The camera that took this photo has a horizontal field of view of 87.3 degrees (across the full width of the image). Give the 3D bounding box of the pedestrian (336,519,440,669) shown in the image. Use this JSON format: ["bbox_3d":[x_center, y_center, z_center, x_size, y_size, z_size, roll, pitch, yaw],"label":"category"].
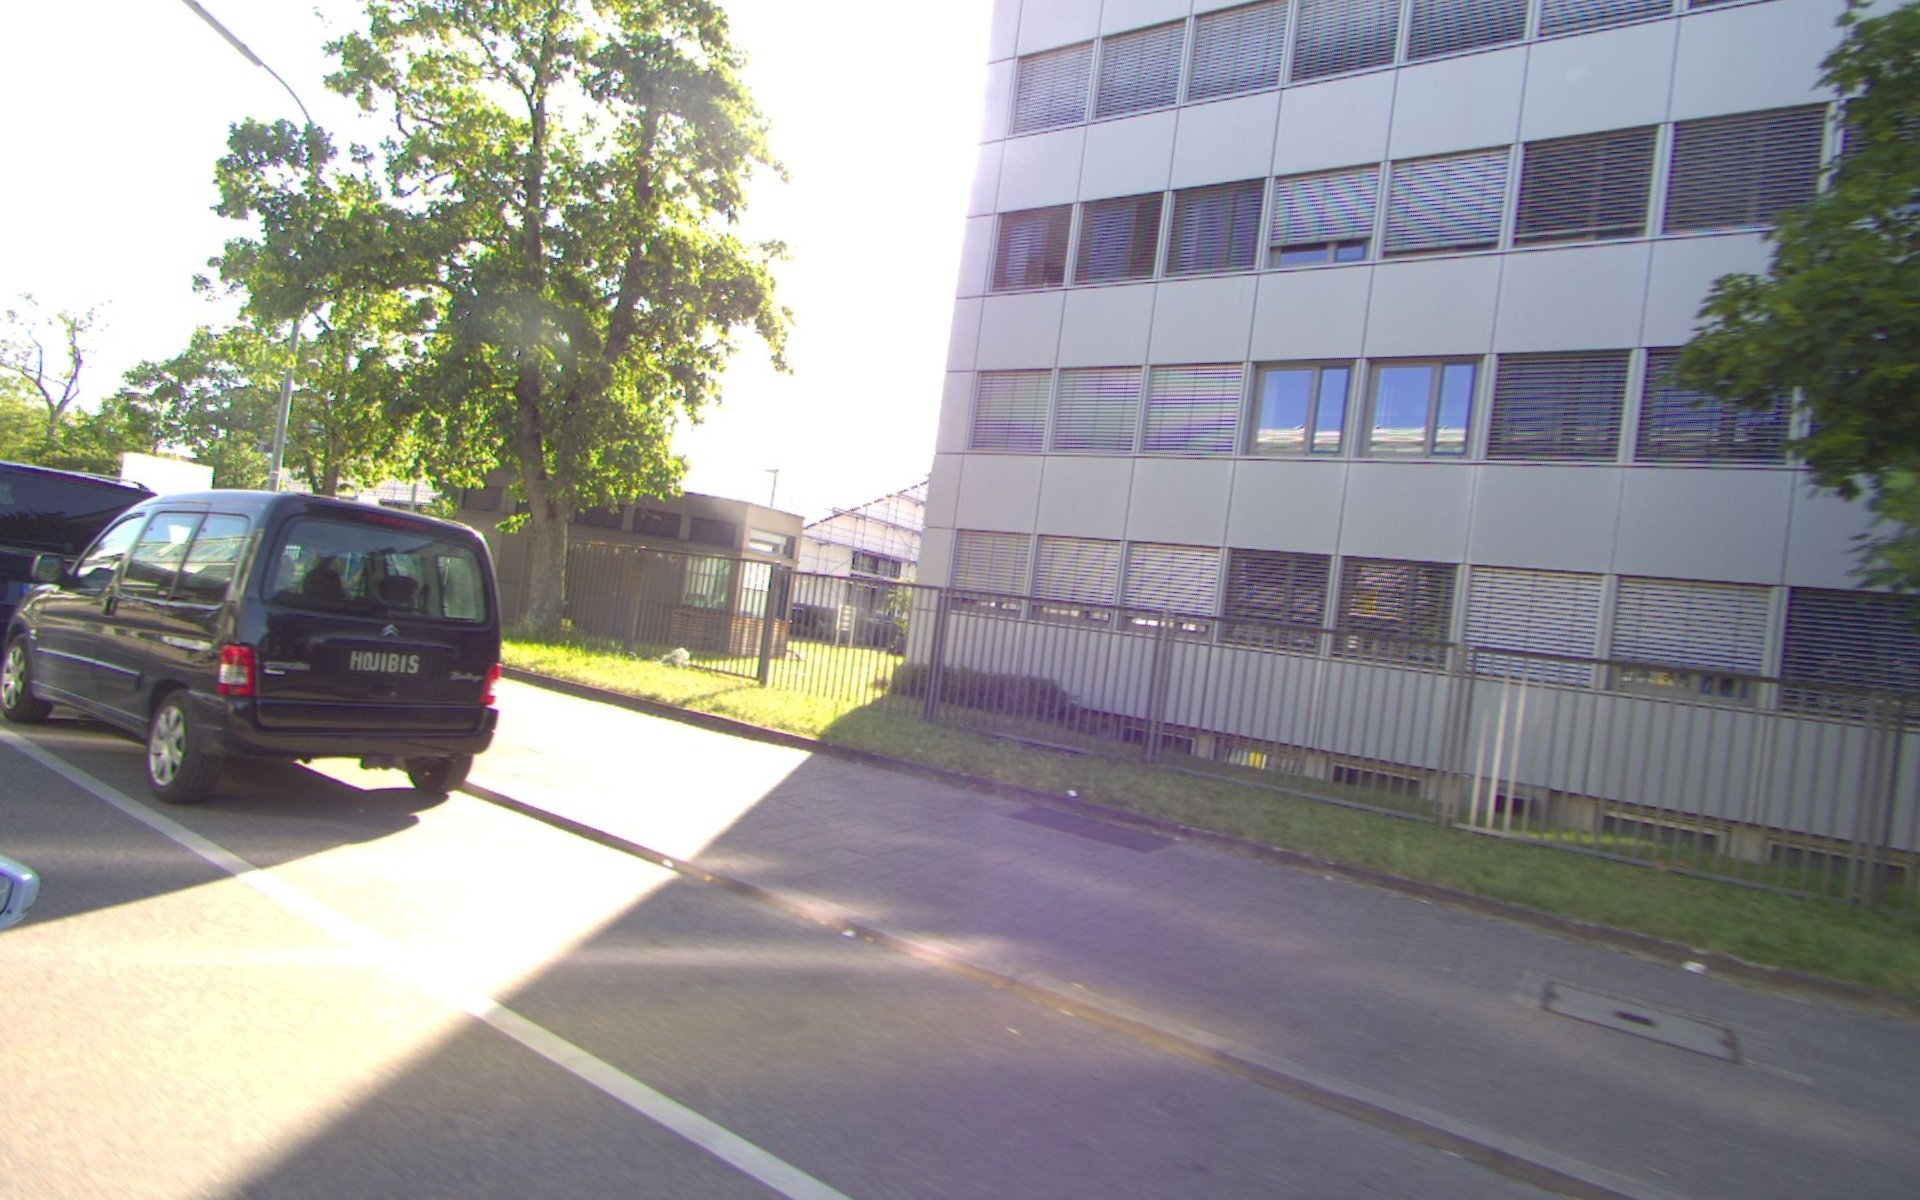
[{"bbox_3d":[-7.132,-0.063,12.547,0.763,1.750,0.692,7,1,32],"label":"pedestrian"}]

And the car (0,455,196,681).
[{"bbox_3d":[-10.302,-0.514,10.409,4.937,1.890,1.870,7,-3,30],"label":"car"}]

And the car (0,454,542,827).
[{"bbox_3d":[-5.054,0.142,6.967,4.225,1.814,1.706,7,-3,33],"label":"car"}]

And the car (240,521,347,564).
[{"bbox_3d":[-32.277,-2.780,48.844,1.647,1.395,3.897,7,-2,30],"label":"car"}]
